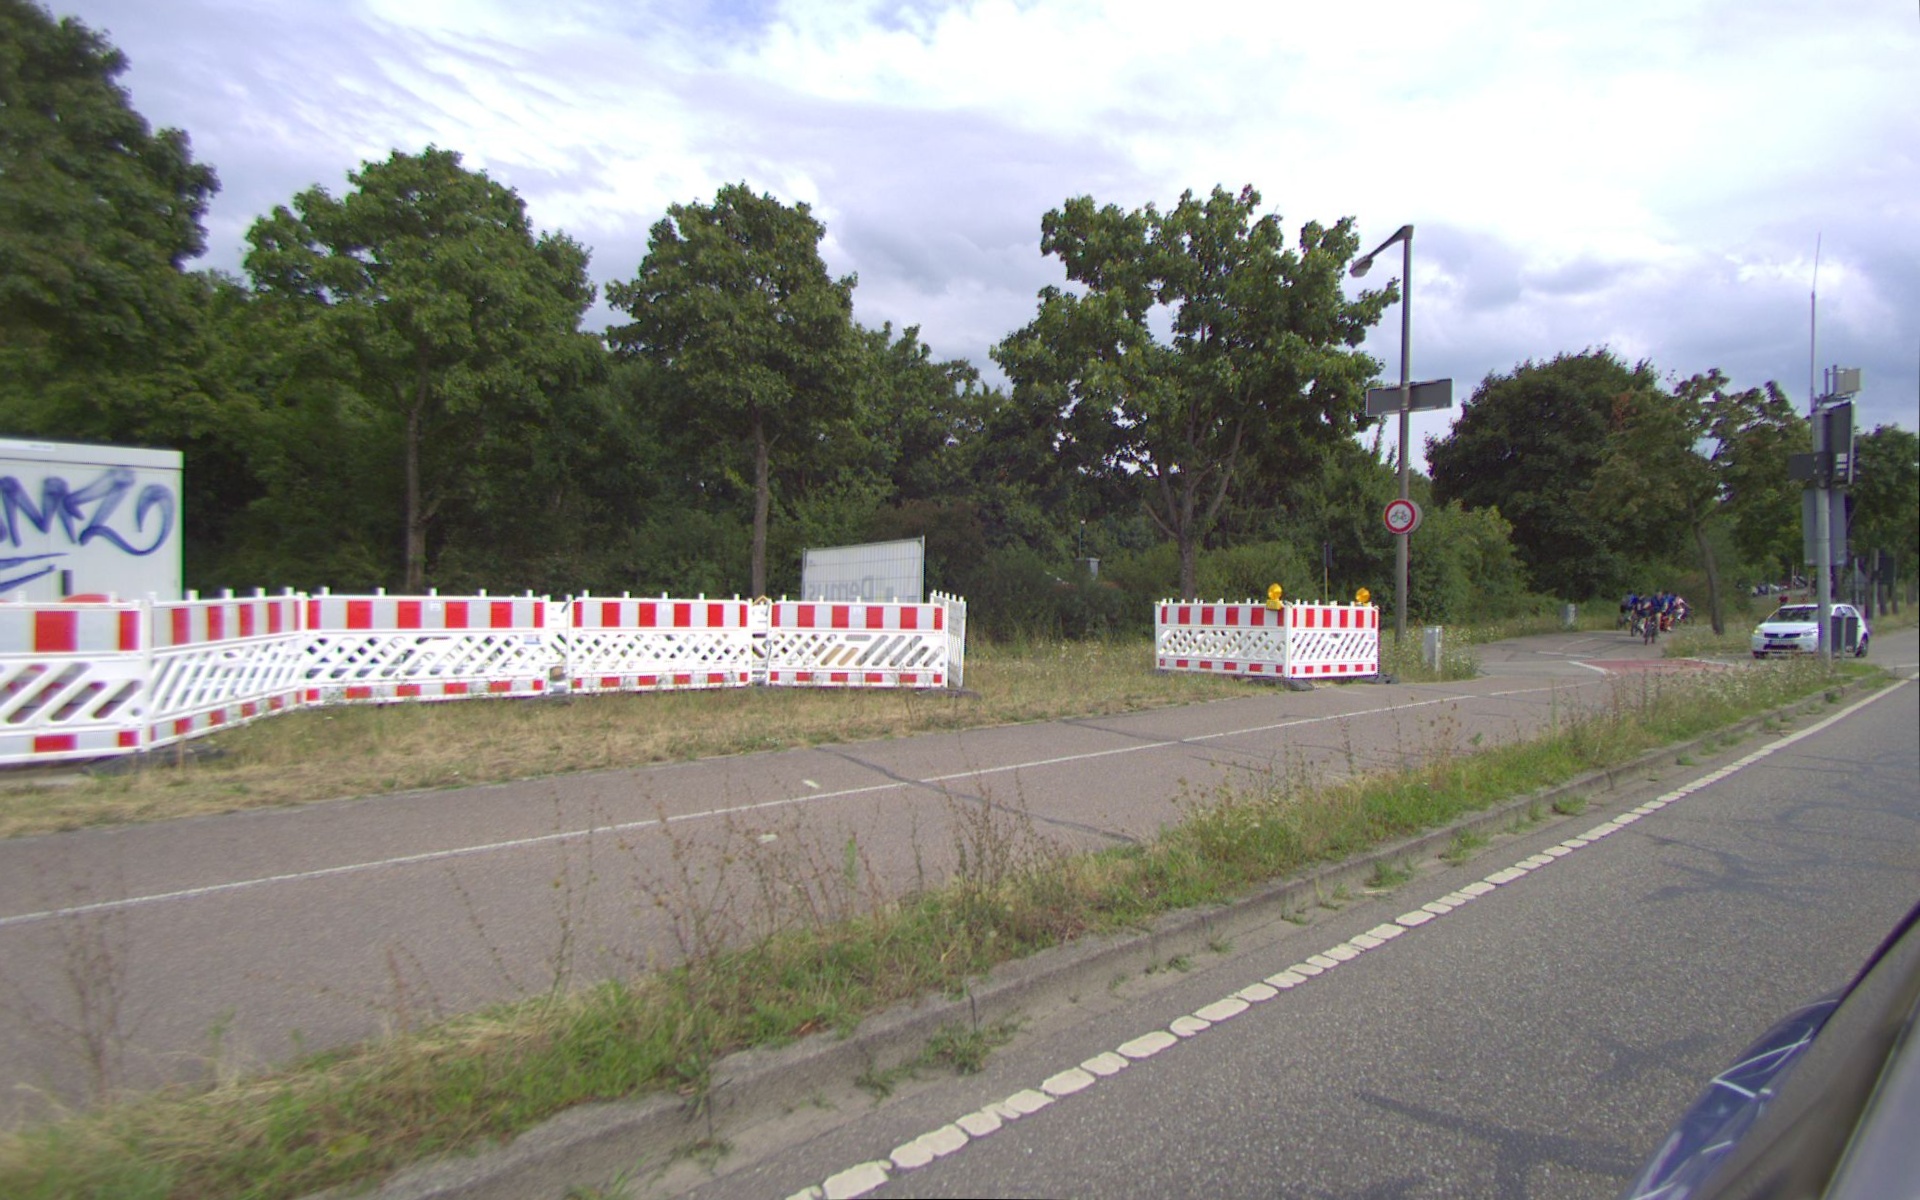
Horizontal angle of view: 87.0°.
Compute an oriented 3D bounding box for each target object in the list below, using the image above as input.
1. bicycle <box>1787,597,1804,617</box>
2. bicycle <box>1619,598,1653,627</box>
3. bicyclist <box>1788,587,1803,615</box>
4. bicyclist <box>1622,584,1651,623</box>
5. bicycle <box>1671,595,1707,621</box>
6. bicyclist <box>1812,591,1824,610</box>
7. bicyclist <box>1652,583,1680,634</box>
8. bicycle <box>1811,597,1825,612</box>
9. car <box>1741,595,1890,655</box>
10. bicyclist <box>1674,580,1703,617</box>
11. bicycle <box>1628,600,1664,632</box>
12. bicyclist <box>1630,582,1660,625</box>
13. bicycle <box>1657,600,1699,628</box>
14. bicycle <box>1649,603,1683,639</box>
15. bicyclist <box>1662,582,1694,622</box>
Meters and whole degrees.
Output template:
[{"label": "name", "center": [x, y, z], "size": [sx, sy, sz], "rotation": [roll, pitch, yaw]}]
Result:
[{"label": "bicycle", "center": [51.213, 0.443, 62.021], "size": [2.195, 1.162, 0.514], "rotation": [-1, 3, -45]}, {"label": "bicycle", "center": [26.703, 0.484, 39.974], "size": [1.756, 1.018, 0.621], "rotation": [-3, 5, -40]}, {"label": "bicyclist", "center": [51.285, 0.052, 62.112], "size": [0.768, 1.678, 0.652], "rotation": [-1, 0, -44]}, {"label": "bicyclist", "center": [26.716, 0.121, 39.975], "size": [0.941, 1.505, 0.742], "rotation": [-1, 0, -41]}, {"label": "bicycle", "center": [29.776, 0.331, 41.345], "size": [1.753, 1.018, 0.622], "rotation": [0, 3, -36]}, {"label": "bicyclist", "center": [58.842, 0.042, 69.401], "size": [0.442, 1.298, 0.539], "rotation": [-1, 0, -44]}, {"label": "bicyclist", "center": [23.703, 0.260, 33.976], "size": [0.652, 1.678, 0.862], "rotation": [0, 0, 45]}, {"label": "bicycle", "center": [58.860, 0.319, 69.426], "size": [1.753, 0.976, 0.514], "rotation": [-1, 3, -45]}, {"label": "car", "center": [23.816, 0.660, 28.159], "size": [3.919, 1.521, 1.855], "rotation": [-1, -1, -29]}, {"label": "bicyclist", "center": [29.698, -0.085, 41.272], "size": [0.790, 1.492, 0.742], "rotation": [-1, 0, -35]}, {"label": "bicycle", "center": [25.135, 0.569, 37.071], "size": [2.068, 1.018, 0.621], "rotation": [-3, 5, -44]}, {"label": "bicyclist", "center": [24.994, 0.126, 36.931], "size": [0.942, 1.537, 0.741], "rotation": [-1, 0, -44]}, {"label": "bicycle", "center": [27.846, 0.538, 39.242], "size": [2.153, 1.049, 0.597], "rotation": [1, 1, -34]}, {"label": "bicycle", "center": [23.687, 0.682, 33.940], "size": [0.574, 1.162, 1.950], "rotation": [3, 2, 45]}, {"label": "bicyclist", "center": [27.854, 0.080, 39.252], "size": [0.940, 1.537, 0.743], "rotation": [-1, 0, -34]}]
